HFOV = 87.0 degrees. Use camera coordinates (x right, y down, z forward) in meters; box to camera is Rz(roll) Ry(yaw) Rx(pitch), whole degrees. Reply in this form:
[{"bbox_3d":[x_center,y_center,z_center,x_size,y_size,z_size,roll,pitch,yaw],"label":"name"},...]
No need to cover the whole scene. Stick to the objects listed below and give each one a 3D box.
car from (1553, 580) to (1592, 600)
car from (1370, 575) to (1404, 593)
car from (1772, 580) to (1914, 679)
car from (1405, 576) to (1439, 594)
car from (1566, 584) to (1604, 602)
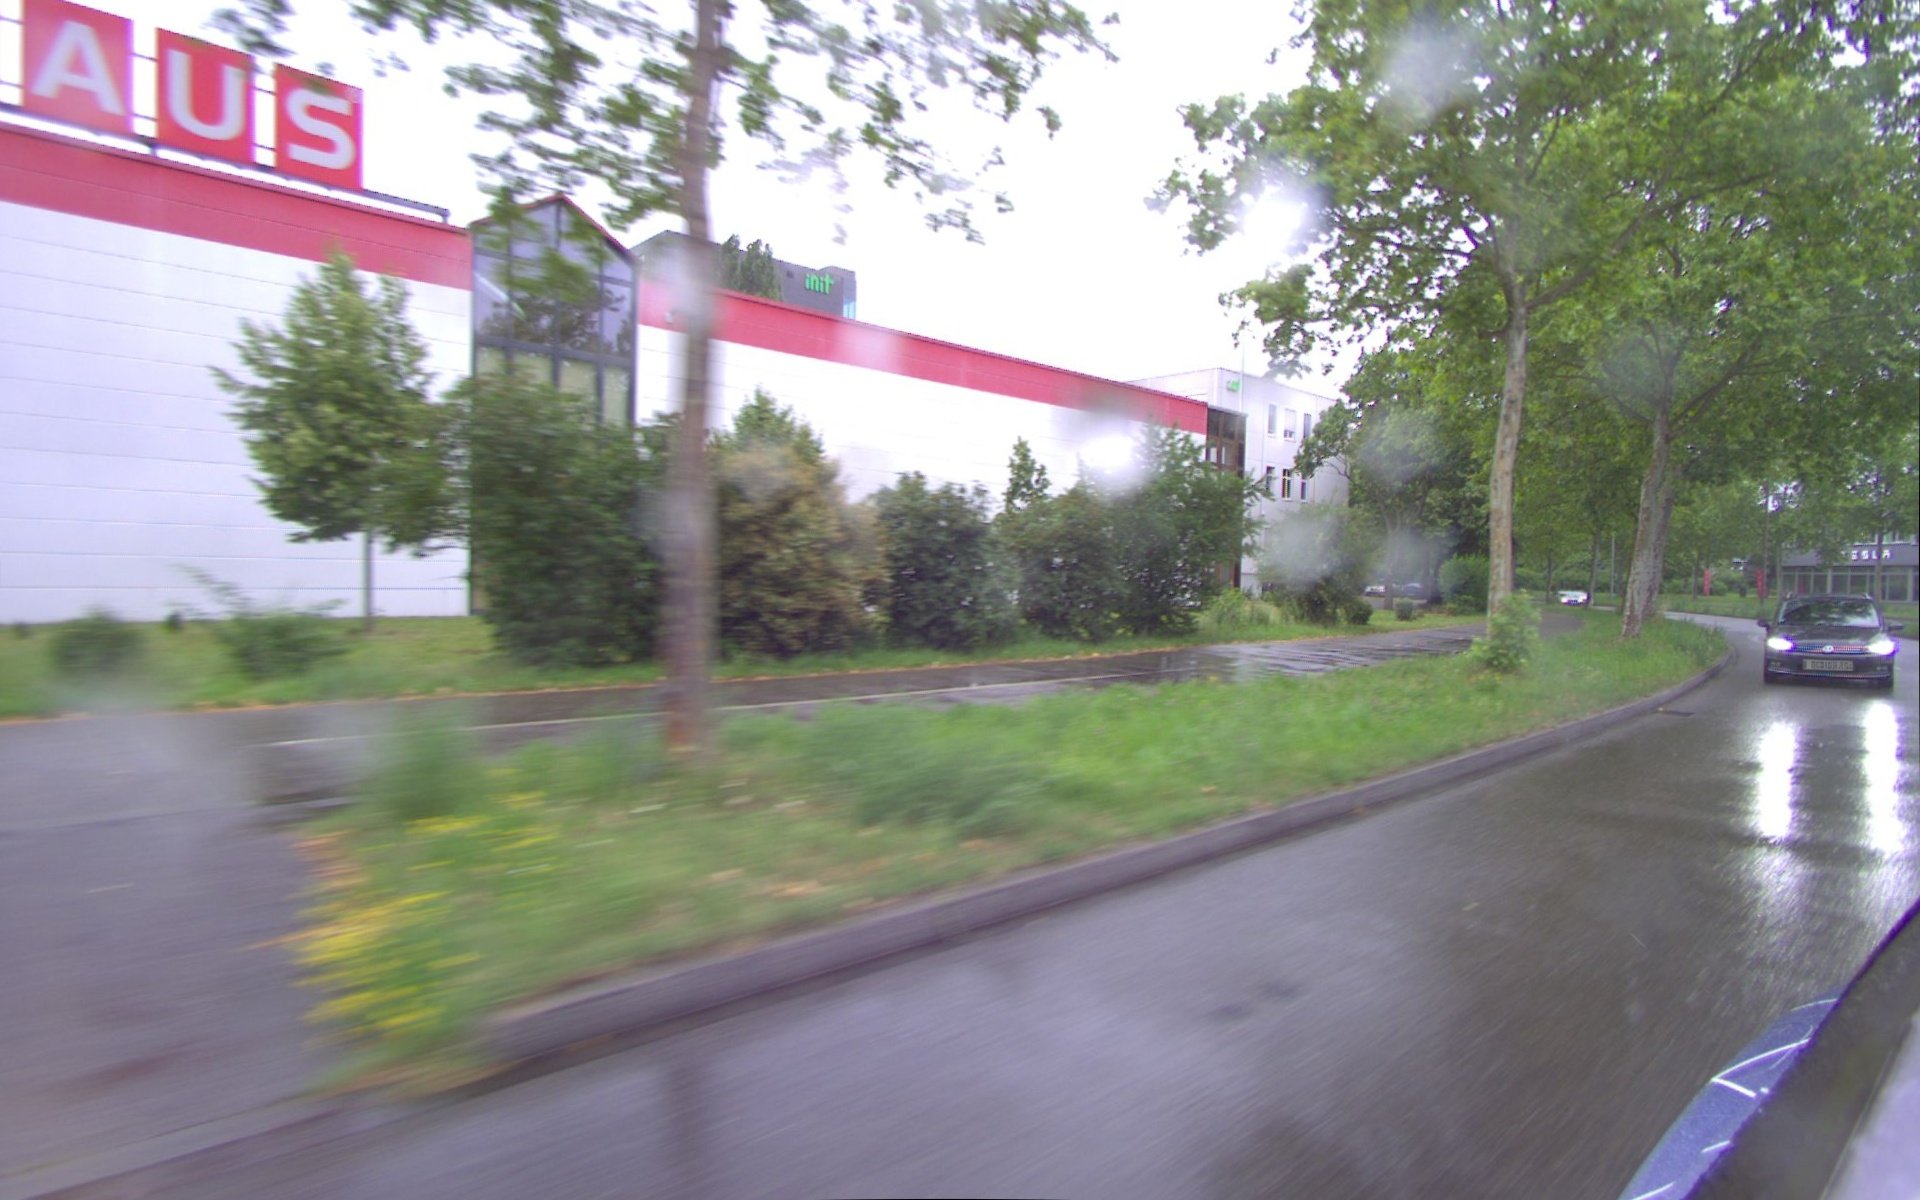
[{"bbox_3d":[52.774,-0.891,87.264,1.759,1.575,3.983,1,2,14],"label":"car"},{"bbox_3d":[34.804,-1.317,82.424,1.591,1.438,3.654,1,2,40],"label":"car"},{"bbox_3d":[16.274,0.456,18.730,1.778,1.575,3.941,3,2,41],"label":"car"},{"bbox_3d":[36.632,-1.198,80.192,1.591,1.374,3.654,1,2,40],"label":"car"},{"bbox_3d":[57.056,-0.652,92.452,1.759,1.575,3.983,1,2,14],"label":"car"}]
